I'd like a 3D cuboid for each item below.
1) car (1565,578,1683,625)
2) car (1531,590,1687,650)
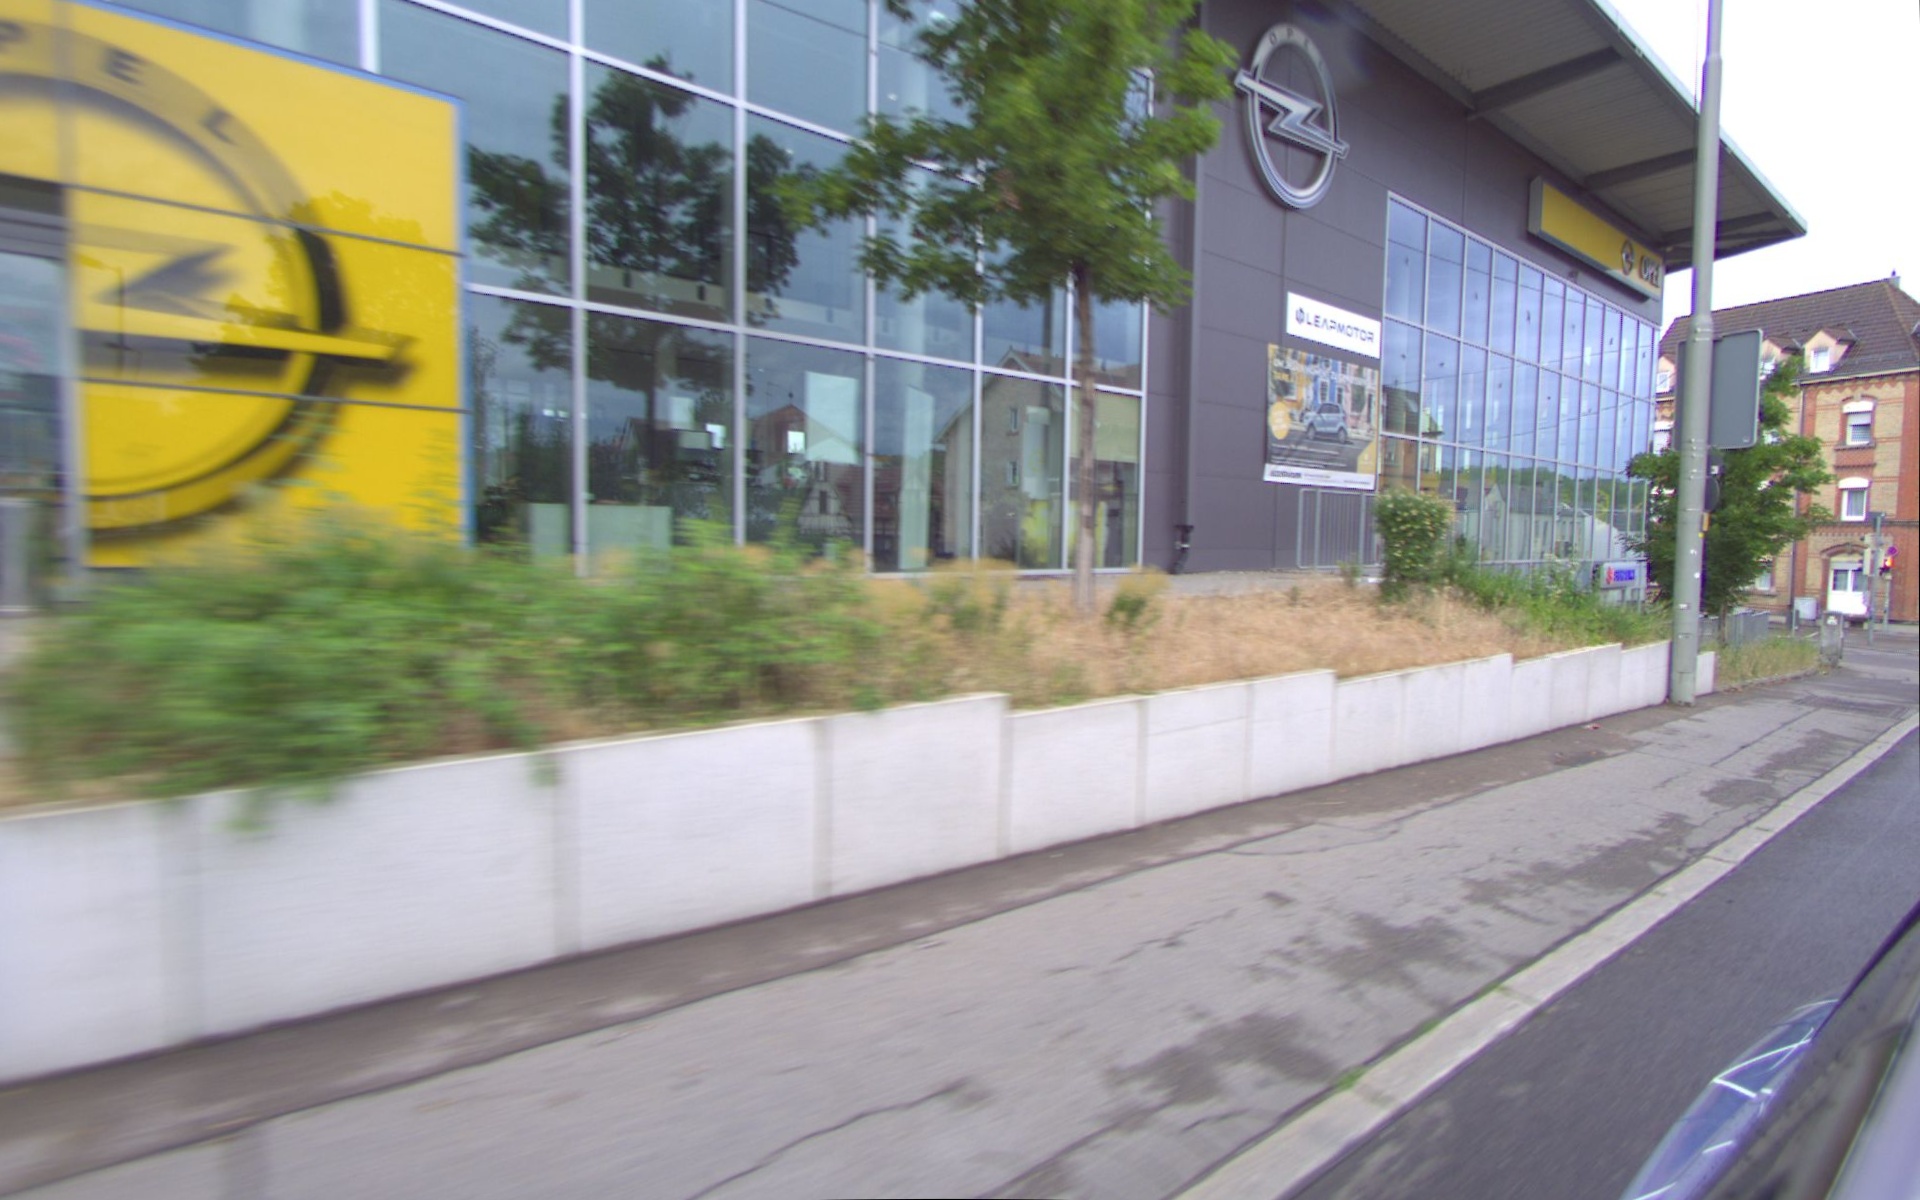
[{"bbox_3d":[27.826,0.034,42.588,1.768,1.683,4.262,2,3,-6],"label":"car"},{"bbox_3d":[20.589,0.568,32.307,1.858,1.526,4.010,-2,4,-13],"label":"car"}]
